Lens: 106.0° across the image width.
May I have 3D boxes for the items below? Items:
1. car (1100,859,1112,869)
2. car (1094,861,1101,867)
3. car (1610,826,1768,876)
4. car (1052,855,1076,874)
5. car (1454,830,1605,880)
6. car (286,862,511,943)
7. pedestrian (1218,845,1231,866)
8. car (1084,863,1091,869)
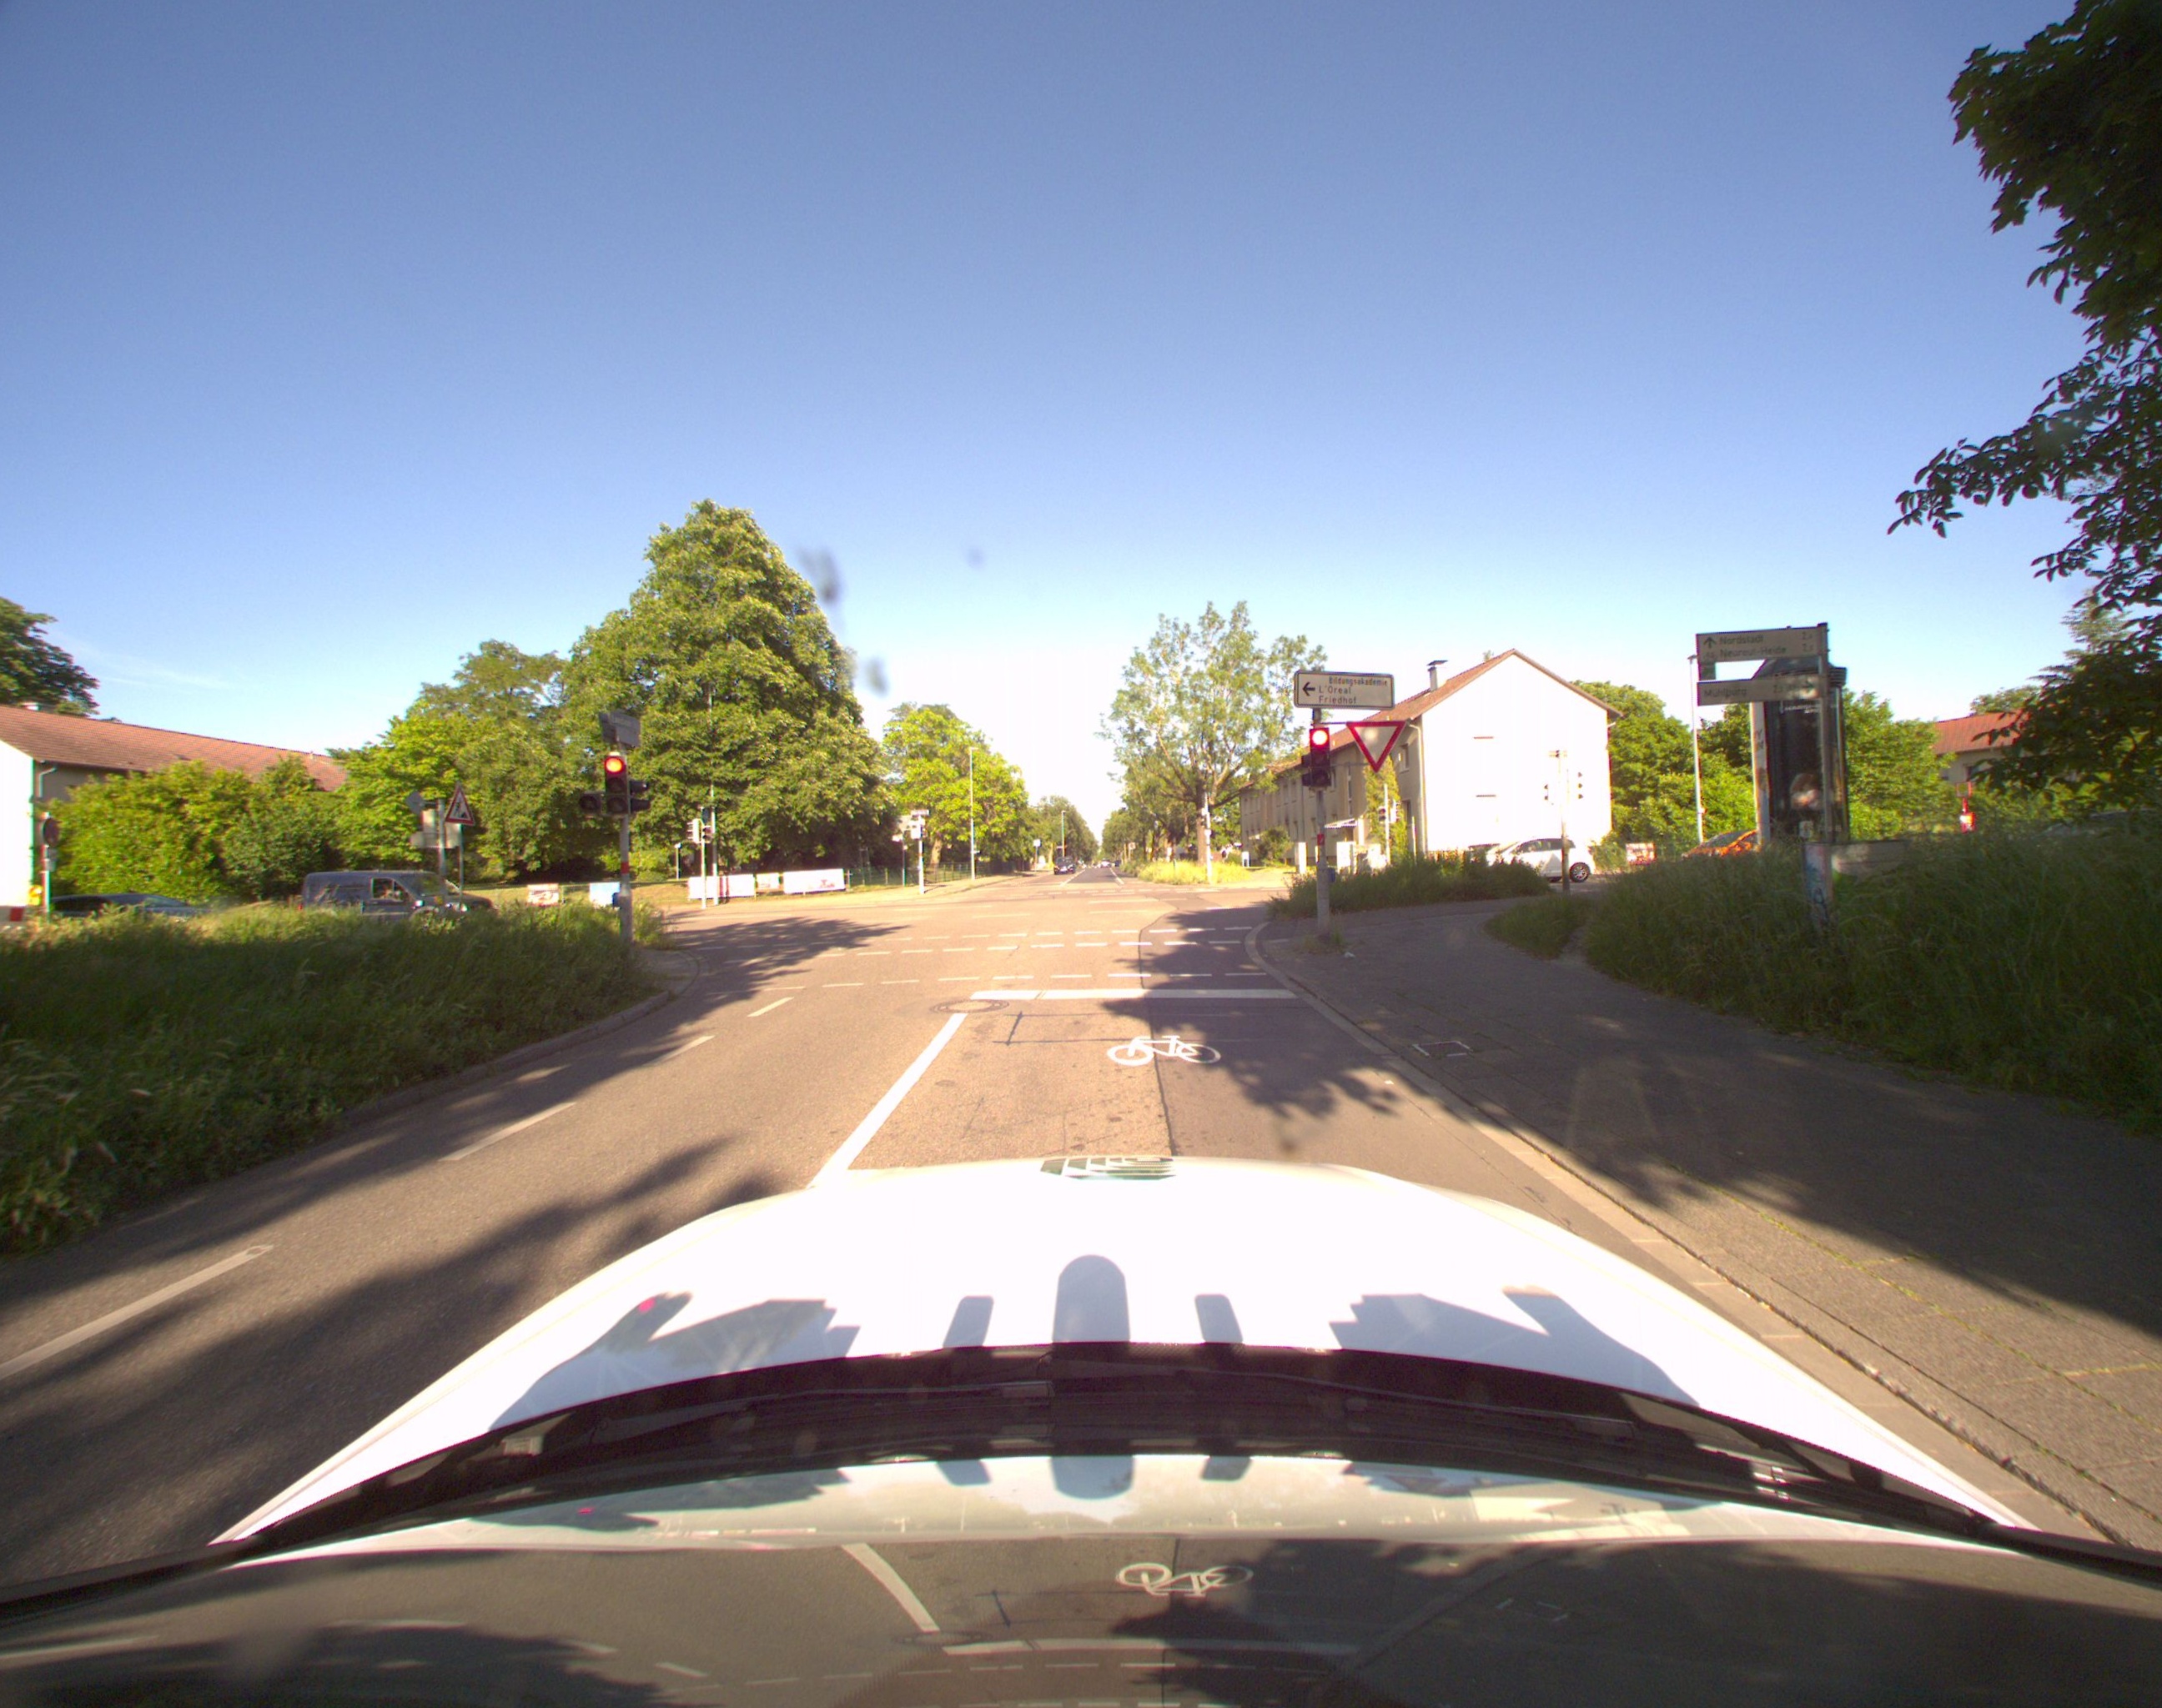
[{"bbox_3d":[4.011,1.532,129.689,1.838,1.461,3.531,-2,0,1],"label":"car"},{"bbox_3d":[4.819,3.080,239.875,1.751,1.624,3.271,-2,0,3],"label":"car"},{"bbox_3d":[20.161,-0.096,27.117,3.975,1.582,1.757,-1,0,-1],"label":"car"},{"bbox_3d":[-1.356,0.829,66.763,1.704,1.385,3.474,-2,0,3],"label":"car"},{"bbox_3d":[14.944,0.037,27.270,4.095,1.563,1.757,-1,0,-1],"label":"car"},{"bbox_3d":[-18.351,1.265,22.070,4.334,1.887,1.858,-2,0,-3],"label":"car"},{"bbox_3d":[10.132,0.108,57.525,0.838,1.493,0.924,0,0,1],"label":"pedestrian"},{"bbox_3d":[1.884,3.346,226.488,1.751,1.624,3.271,-2,0,3],"label":"car"}]
